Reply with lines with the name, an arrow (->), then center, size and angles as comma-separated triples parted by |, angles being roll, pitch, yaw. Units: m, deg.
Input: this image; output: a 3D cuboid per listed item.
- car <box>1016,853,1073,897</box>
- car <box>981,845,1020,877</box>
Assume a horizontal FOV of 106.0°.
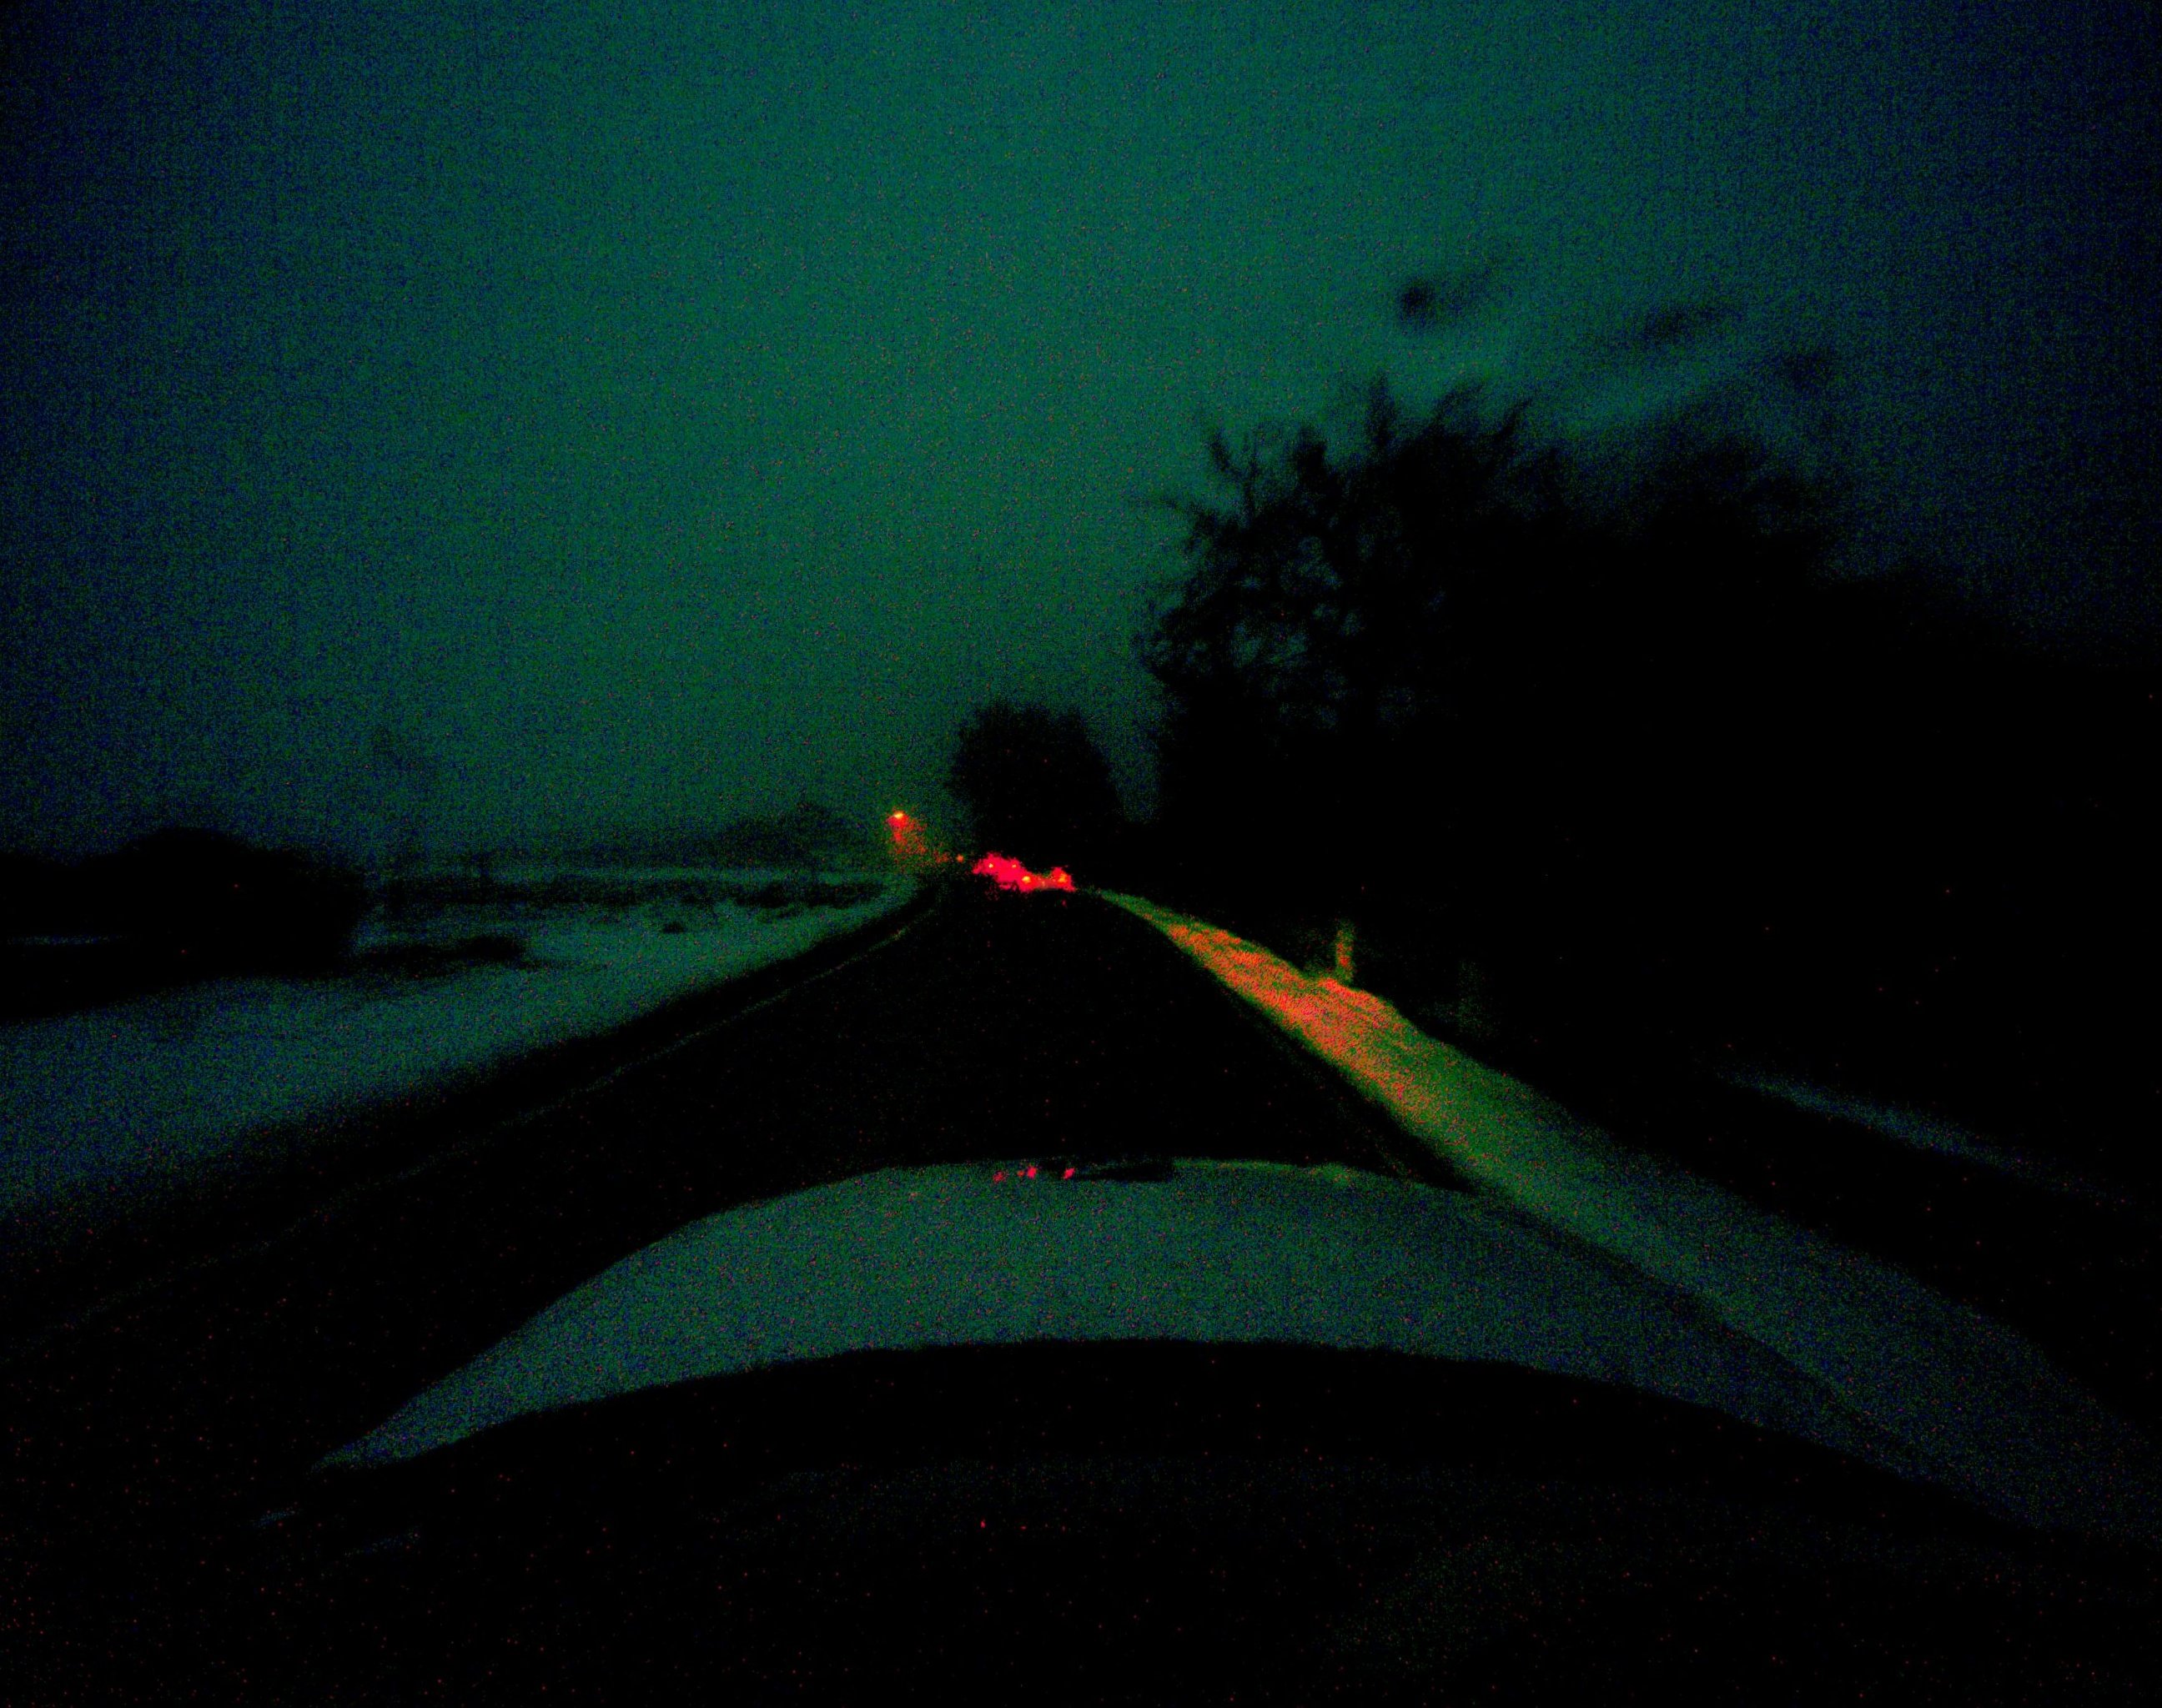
car -> -1.404, 0.756, 30.393 | 1.990, 1.508, 3.994 | 0, -1, -4
car -> -4.633, 0.412, 46.301 | 1.993, 1.750, 3.987 | 0, -1, -9
